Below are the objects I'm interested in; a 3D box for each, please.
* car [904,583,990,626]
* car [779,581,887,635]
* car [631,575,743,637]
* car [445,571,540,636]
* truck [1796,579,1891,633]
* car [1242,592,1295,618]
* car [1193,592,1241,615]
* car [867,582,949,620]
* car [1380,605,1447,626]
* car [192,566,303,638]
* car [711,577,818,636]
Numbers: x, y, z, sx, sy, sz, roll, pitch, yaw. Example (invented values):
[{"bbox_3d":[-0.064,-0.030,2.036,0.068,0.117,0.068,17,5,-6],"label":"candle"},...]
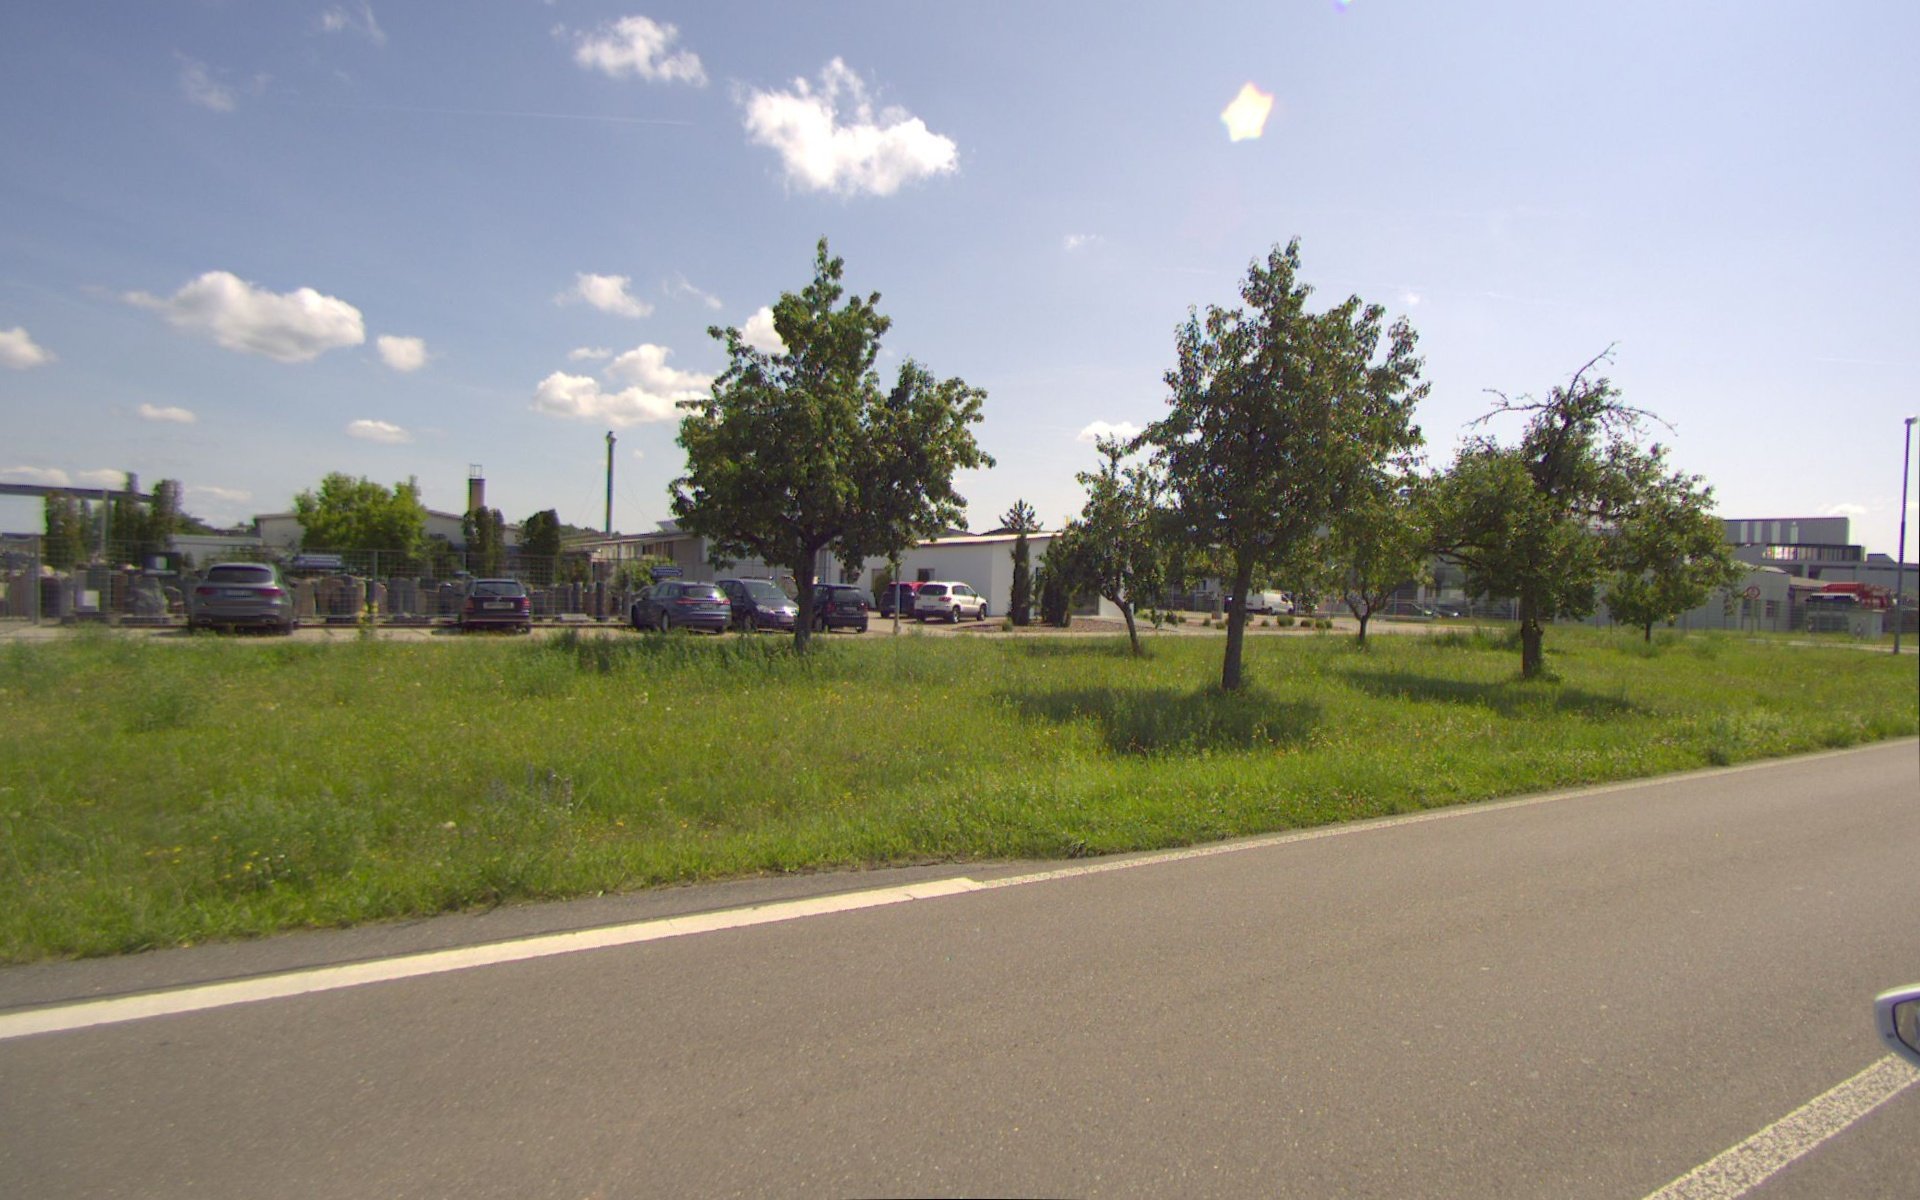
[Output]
[{"bbox_3d":[-0.491,0.165,42.523,1.962,1.662,4.166,2,1,25],"label":"car"},{"bbox_3d":[-4.326,0.240,33.706,1.980,1.662,3.960,1,1,-35],"label":"car"},{"bbox_3d":[-8.192,0.143,29.903,1.980,1.662,3.960,1,1,-35],"label":"car"},{"bbox_3d":[-12.570,0.062,26.903,1.649,1.576,3.960,1,1,-35],"label":"car"},{"bbox_3d":[63.640,0.489,72.249,10.166,3.606,2.734,1,1,-35],"label":"truck"},{"bbox_3d":[25.655,0.463,83.545,4.704,2.041,1.976,1,1,-41],"label":"car"},{"bbox_3d":[22.329,0.283,87.478,1.672,1.776,3.810,1,2,-37],"label":"car"},{"bbox_3d":[-2.285,0.036,45.477,1.962,1.549,4.166,2,1,25],"label":"car"},{"bbox_3d":[32.325,1.081,71.713,1.785,1.261,3.960,1,1,-35],"label":"car"},{"bbox_3d":[-16.894,0.009,23.898,1.980,1.548,3.960,1,1,-35],"label":"car"},{"bbox_3d":[-6.249,0.170,31.782,1.840,1.662,3.960,1,1,-35],"label":"car"}]
